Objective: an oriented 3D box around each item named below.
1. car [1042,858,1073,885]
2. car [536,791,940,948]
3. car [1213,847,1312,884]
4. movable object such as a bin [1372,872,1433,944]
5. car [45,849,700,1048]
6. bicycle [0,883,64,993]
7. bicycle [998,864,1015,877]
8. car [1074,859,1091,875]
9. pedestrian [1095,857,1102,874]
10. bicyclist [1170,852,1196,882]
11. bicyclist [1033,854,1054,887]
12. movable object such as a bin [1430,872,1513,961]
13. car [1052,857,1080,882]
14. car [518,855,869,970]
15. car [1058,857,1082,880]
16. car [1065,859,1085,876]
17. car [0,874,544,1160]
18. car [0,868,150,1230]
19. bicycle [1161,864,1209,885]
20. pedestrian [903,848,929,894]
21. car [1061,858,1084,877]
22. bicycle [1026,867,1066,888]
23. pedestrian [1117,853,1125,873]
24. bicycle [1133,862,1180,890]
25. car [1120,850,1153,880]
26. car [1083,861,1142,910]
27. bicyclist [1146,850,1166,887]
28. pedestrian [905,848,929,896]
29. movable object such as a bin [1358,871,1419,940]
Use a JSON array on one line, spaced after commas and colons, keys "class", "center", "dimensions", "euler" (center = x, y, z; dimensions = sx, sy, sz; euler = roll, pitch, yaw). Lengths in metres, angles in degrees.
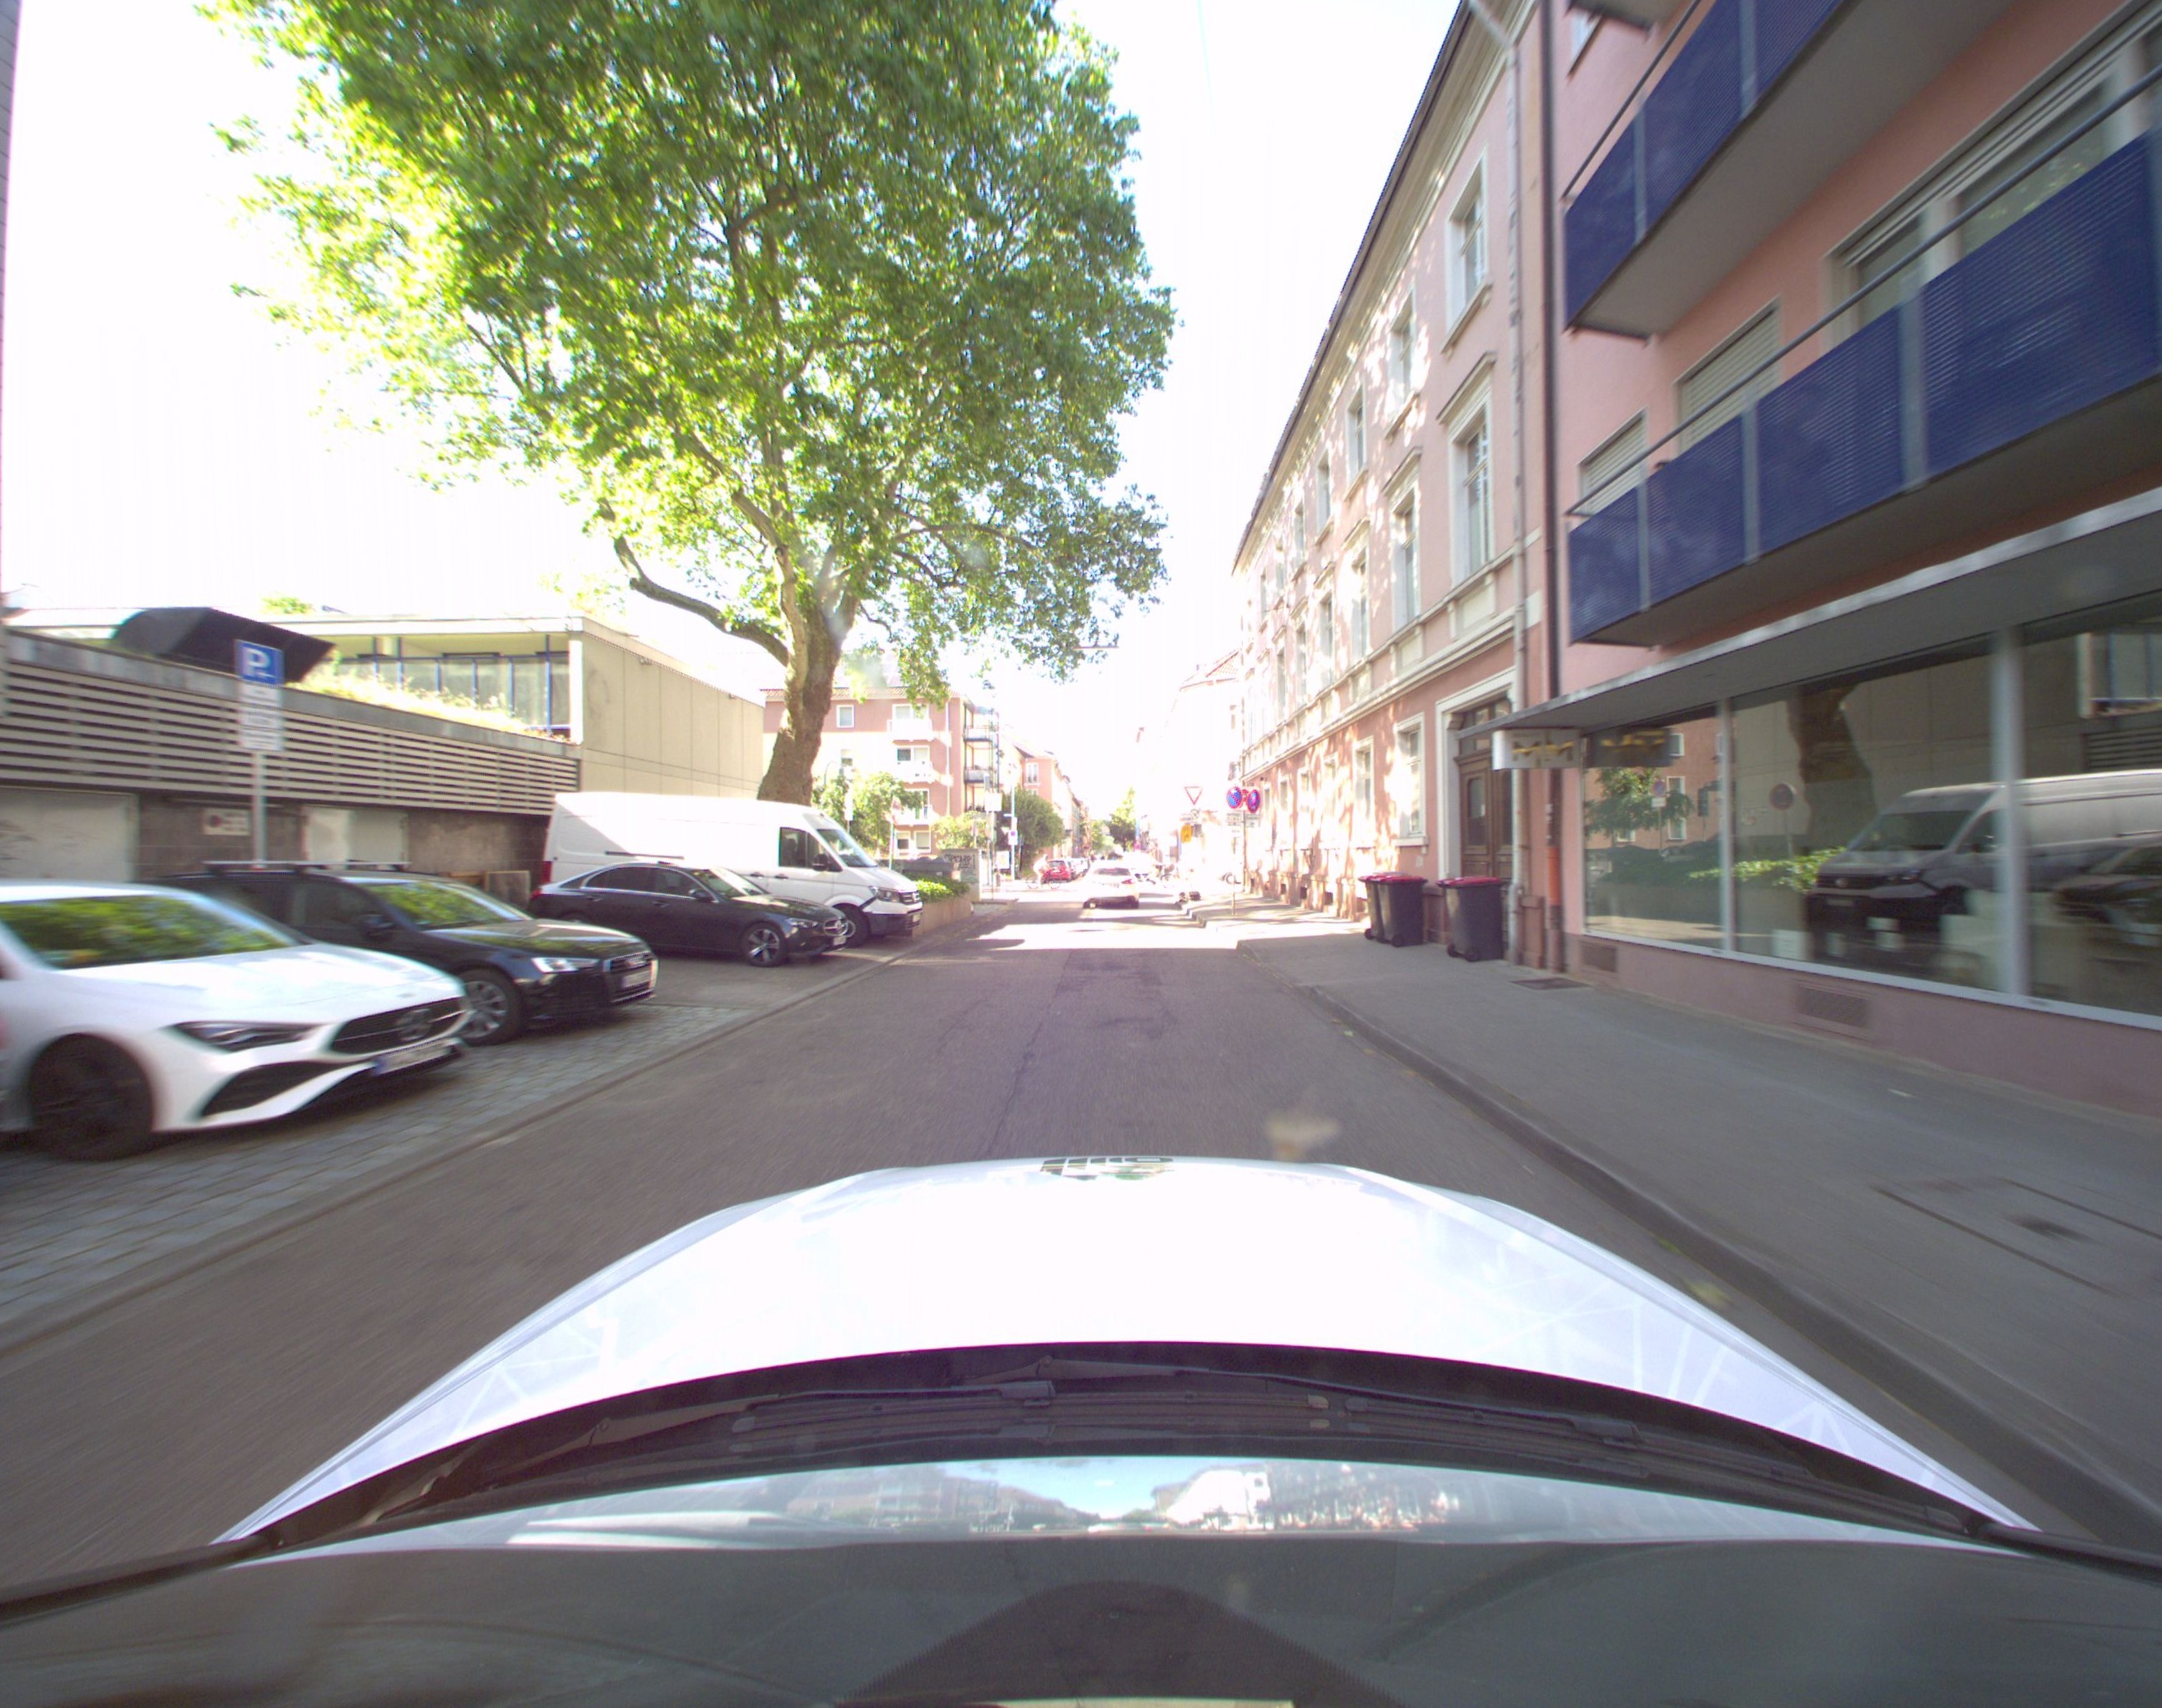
[{"class": "car", "center": [-1.452, 1.067, 52.164], "dimensions": [1.763, 1.589, 3.727], "euler": [-1, 0, 1]}, {"class": "car", "center": [-6.307, 0.269, 15.517], "dimensions": [6.710, 2.555, 2.147], "euler": [2, -1, 3]}, {"class": "car", "center": [9.749, 0.656, 43.741], "dimensions": [4.844, 1.929, 2.011], "euler": [-1, -2, 26]}, {"class": "movable object such as a bin", "center": [4.952, 0.820, 12.576], "dimensions": [0.698, 1.073, 0.597], "euler": [-1, -1, 4]}, {"class": "car", "center": [-6.342, 0.806, 7.757], "dimensions": [4.452, 1.610, 1.915], "euler": [1, -1, -1]}, {"class": "bicycle", "center": [-11.622, 0.888, 8.014], "dimensions": [0.607, 1.124, 2.039], "euler": [0, 0, 2]}, {"class": "bicycle", "center": [-5.822, 1.297, 63.581], "dimensions": [0.607, 0.932, 1.896], "euler": [0, -1, -31]}, {"class": "car", "center": [0.212, 1.332, 84.364], "dimensions": [1.566, 1.585, 3.613], "euler": [-1, -1, 3]}, {"class": "pedestrian", "center": [1.923, 1.225, 88.634], "dimensions": [0.644, 1.797, 0.639], "euler": [-1, -1, 3]}, {"class": "bicyclist", "center": [5.290, 0.695, 42.282], "dimensions": [1.186, 1.516, 0.844], "euler": [-2, -1, 15]}, {"class": "bicyclist", "center": [-1.800, 0.805, 39.456], "dimensions": [0.980, 1.553, 0.760], "euler": [-1, -1, -2]}, {"class": "movable object such as a bin", "center": [5.082, 0.795, 10.626], "dimensions": [0.727, 1.104, 0.693], "euler": [-1, -1, 0]}, {"class": "car", "center": [-1.044, 1.062, 57.756], "dimensions": [1.713, 1.683, 3.728], "euler": [-1, -1, 3]}, {"class": "car", "center": [-5.852, 0.840, 12.695], "dimensions": [4.481, 1.471, 1.930], "euler": [2, 0, 3]}, {"class": "car", "center": [-0.831, 1.117, 63.269], "dimensions": [1.629, 1.656, 3.787], "euler": [-1, -1, 3]}, {"class": "car", "center": [-0.489, 1.253, 74.066], "dimensions": [1.595, 1.477, 3.570], "euler": [-1, -1, 3]}, {"class": "car", "center": [-6.287, 0.867, 5.223], "dimensions": [4.326, 1.425, 1.958], "euler": [1, -1, 1]}, {"class": "car", "center": [-6.438, 0.817, 3.011], "dimensions": [3.862, 1.505, 1.827], "euler": [0, -1, 1]}, {"class": "bicycle", "center": [5.401, 1.066, 42.280], "dimensions": [2.407, 1.080, 0.793], "euler": [-1, -1, 14]}, {"class": "pedestrian", "center": [-6.622, 0.681, 32.697], "dimensions": [0.967, 1.839, 0.679], "euler": [2, -1, -13]}, {"class": "car", "center": [-0.684, 1.189, 70.056], "dimensions": [1.713, 1.576, 3.728], "euler": [-1, -1, 3]}, {"class": "bicycle", "center": [-1.695, 1.139, 39.452], "dimensions": [1.922, 0.986, 0.663], "euler": [-1, -1, -2]}, {"class": "pedestrian", "center": [4.162, 0.939, 85.246], "dimensions": [0.768, 2.118, 0.835], "euler": [-1, -1, 3]}, {"class": "bicycle", "center": [3.588, 1.031, 38.736], "dimensions": [2.153, 1.255, 0.834], "euler": [-1, -1, 4]}, {"class": "car", "center": [3.722, 0.740, 55.242], "dimensions": [1.936, 1.948, 4.077], "euler": [0, 0, 0]}, {"class": "car", "center": [1.036, 0.995, 27.189], "dimensions": [1.817, 1.514, 3.825], "euler": [0, 0, 1]}, {"class": "bicyclist", "center": [3.574, 0.687, 38.788], "dimensions": [0.920, 1.720, 0.943], "euler": [-1, -1, 4]}, {"class": "pedestrian", "center": [-6.390, 0.708, 31.745], "dimensions": [0.853, 1.815, 0.811], "euler": [2, -2, -11]}, {"class": "movable object such as a bin", "center": [4.978, 0.822, 13.208], "dimensions": [0.742, 1.086, 0.635], "euler": [-1, -1, 4]}]
